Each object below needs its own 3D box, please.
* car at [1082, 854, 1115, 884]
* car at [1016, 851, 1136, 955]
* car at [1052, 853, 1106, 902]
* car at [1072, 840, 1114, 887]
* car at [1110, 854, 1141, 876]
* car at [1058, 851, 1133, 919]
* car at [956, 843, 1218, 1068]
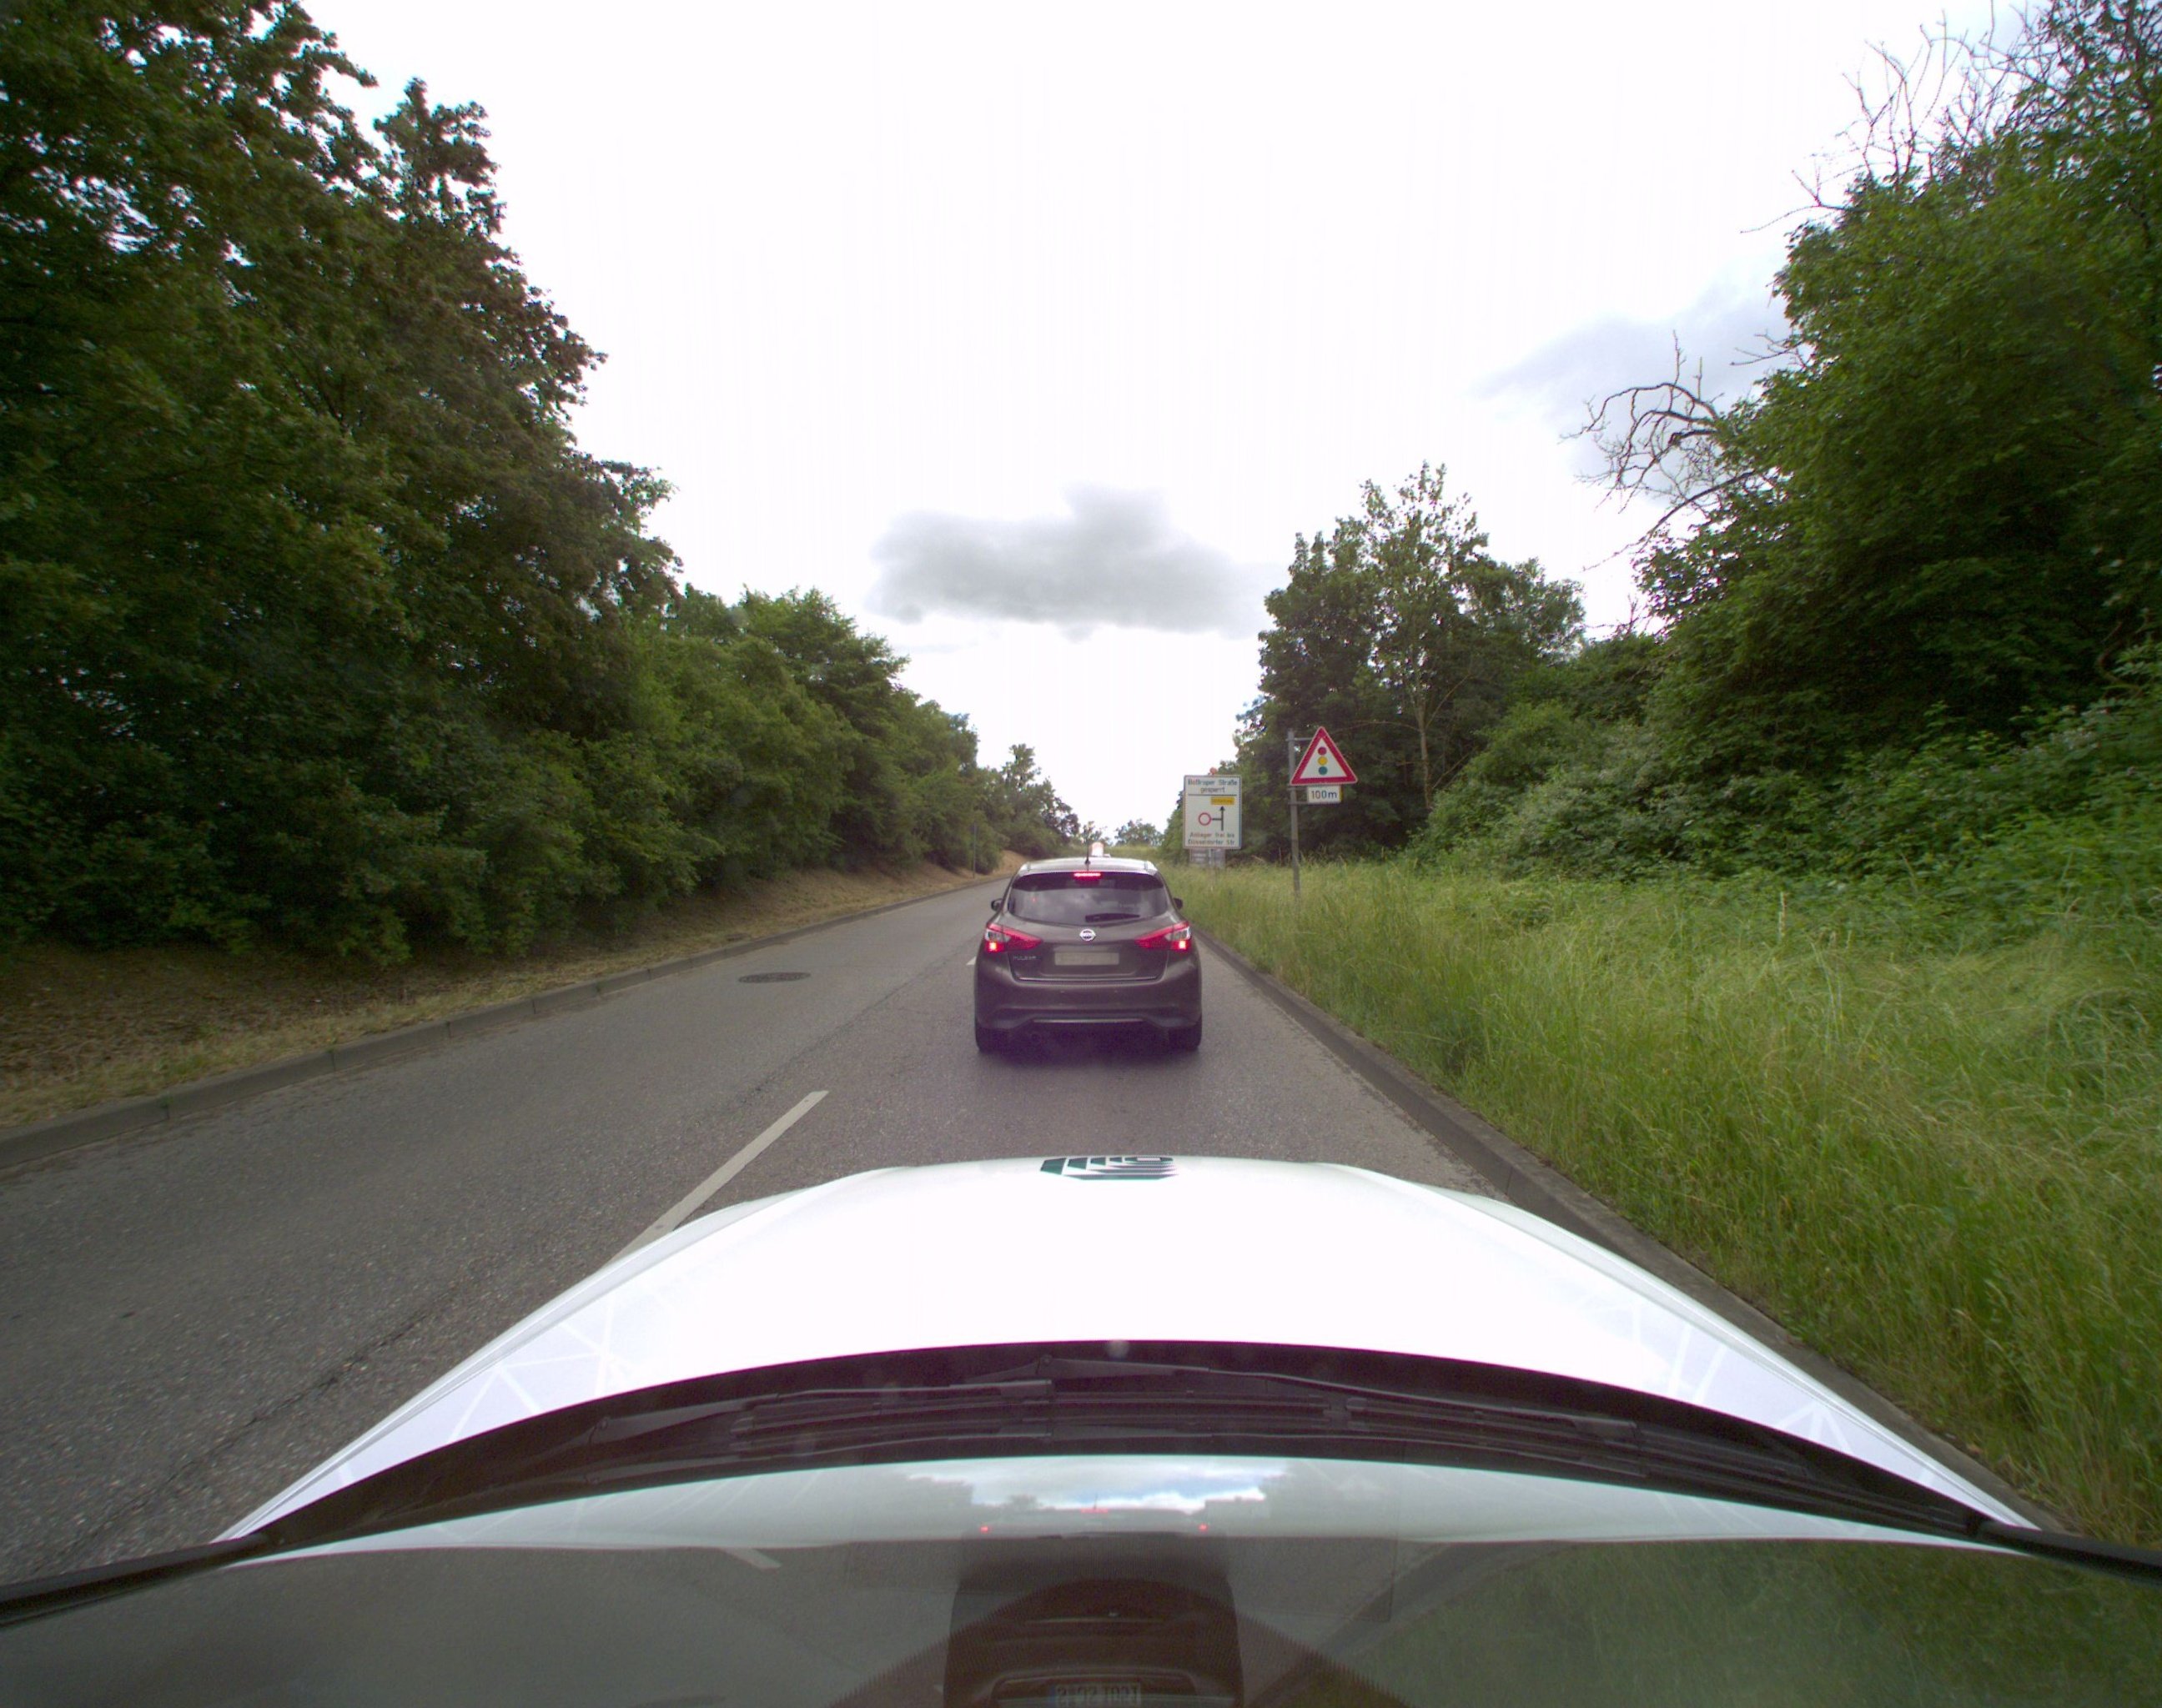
[{"bbox_3d":[0.954,0.789,44.674,1.730,1.526,3.543,-1,0,1],"label":"car"},{"bbox_3d":[-0.009,0.759,14.430,1.823,1.556,3.626,-1,0,2],"label":"car"},{"bbox_3d":[0.000,0.773,28.723,1.729,1.556,3.545,-1,0,2],"label":"car"},{"bbox_3d":[0.526,0.384,35.892,1.730,1.935,3.543,-1,0,0],"label":"car"},{"bbox_3d":[3.256,0.759,58.617,1.725,1.526,3.652,-1,0,10],"label":"car"},{"bbox_3d":[0.418,0.739,21.009,1.729,1.556,3.545,-1,0,2],"label":"car"},{"bbox_3d":[0.053,0.718,7.496,1.824,1.556,3.499,-1,0,0],"label":"car"}]
